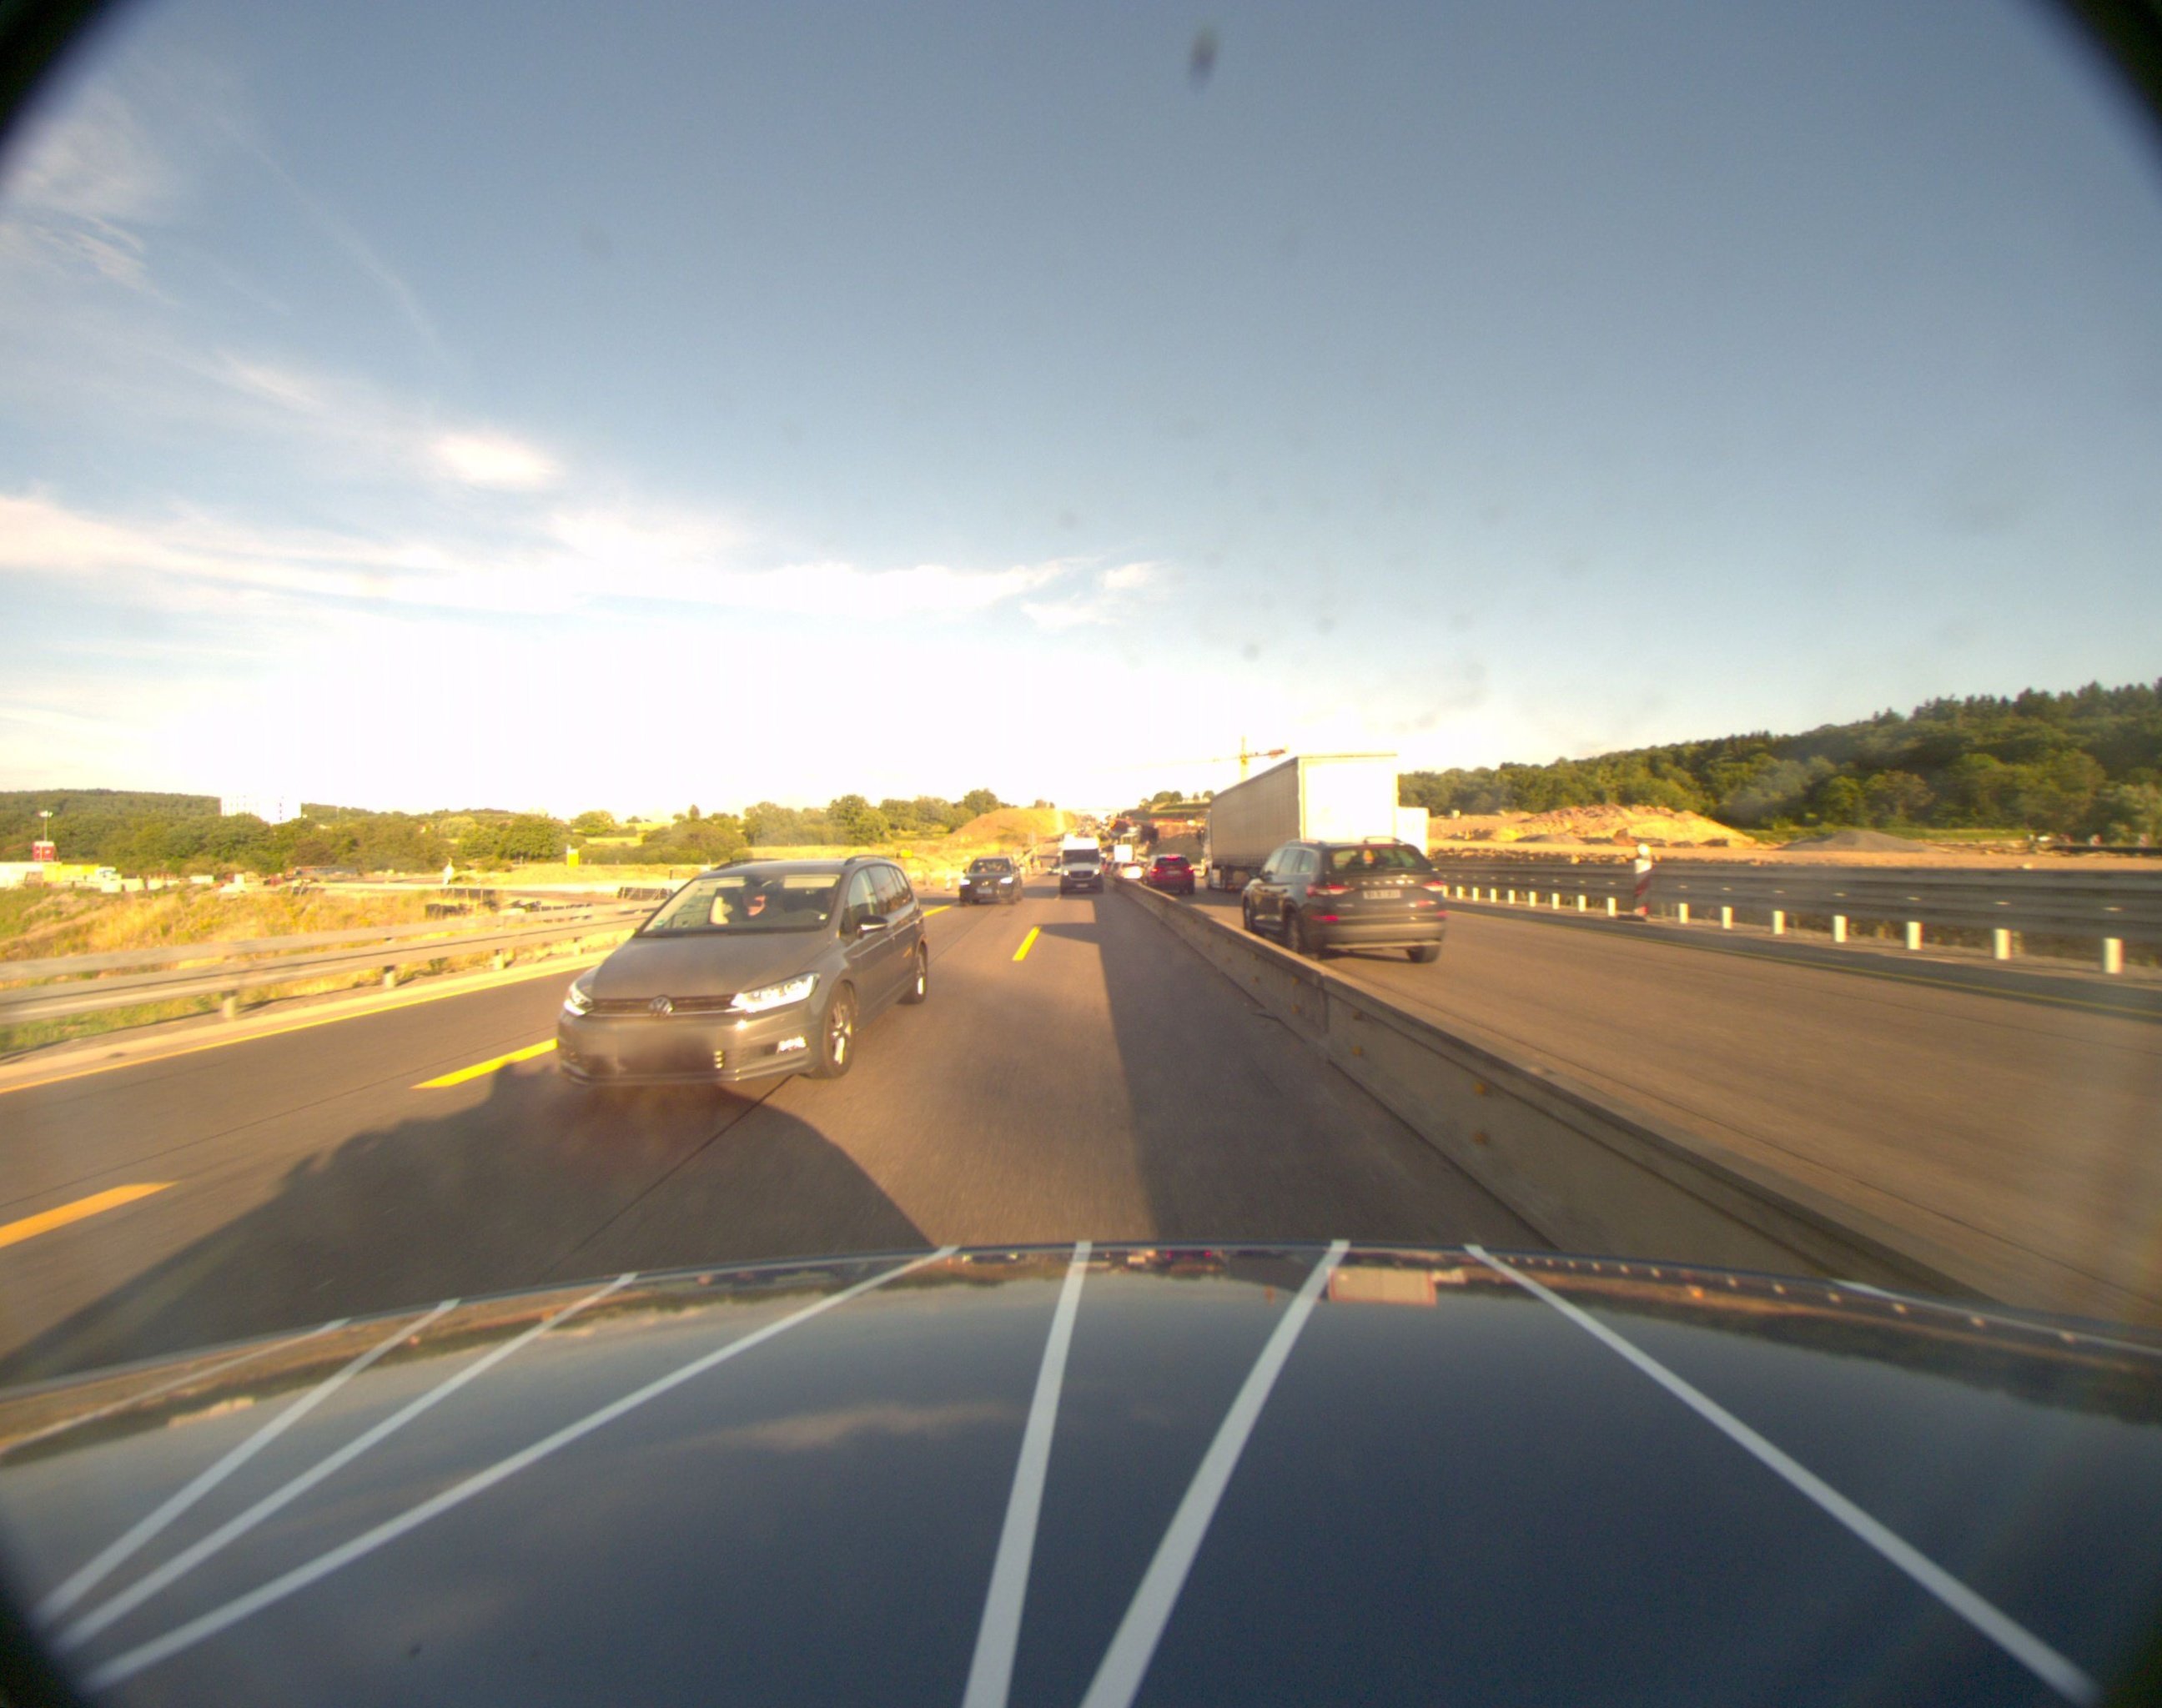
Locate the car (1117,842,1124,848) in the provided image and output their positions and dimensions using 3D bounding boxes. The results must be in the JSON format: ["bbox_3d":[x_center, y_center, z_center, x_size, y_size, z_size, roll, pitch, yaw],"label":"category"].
[{"bbox_3d":[10.532,-2.500,203.046,1.719,1.402,4.327,-1,2,5],"label":"car"}]

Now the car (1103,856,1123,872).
[{"bbox_3d":[3.431,1.109,82.562,1.832,1.630,4.529,-2,0,-1],"label":"car"}]

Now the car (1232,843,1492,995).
[{"bbox_3d":[3.625,0.726,10.829,1.998,1.635,4.511,-2,0,0],"label":"car"}]

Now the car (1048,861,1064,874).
[{"bbox_3d":[-2.946,1.568,91.243,1.791,1.477,4.000,-2,0,-1],"label":"car"}]

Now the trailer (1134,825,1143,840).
[{"bbox_3d":[17.534,-6.667,231.686,2.536,4.190,13.932,-3,2,4],"label":"trailer"}]

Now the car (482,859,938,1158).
[{"bbox_3d":[-2.634,0.936,6.801,1.817,1.606,4.525,-4,1,-1],"label":"car"}]

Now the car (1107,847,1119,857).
[{"bbox_3d":[6.078,-0.413,145.134,1.998,1.754,4.440,-2,1,0],"label":"car"}]

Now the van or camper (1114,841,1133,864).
[{"bbox_3d":[6.783,-0.145,121.015,2.464,3.477,7.413,-2,0,0],"label":"van or camper"}]

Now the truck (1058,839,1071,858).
[{"bbox_3d":[-3.578,-1.176,162.999,2.264,3.705,6.571,-4,1,-2],"label":"truck"}]

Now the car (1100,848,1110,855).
[{"bbox_3d":[5.092,-0.515,160.292,1.866,1.424,4.154,-2,1,0],"label":"car"}]

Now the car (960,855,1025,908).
[{"bbox_3d":[-3.189,0.935,28.269,1.902,1.703,4.887,-2,0,-1],"label":"car"}]

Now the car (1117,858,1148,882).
[{"bbox_3d":[3.631,1.082,54.420,1.771,1.526,3.999,-2,1,-2],"label":"car"}]

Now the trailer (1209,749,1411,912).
[{"bbox_3d":[6.941,-0.619,26.090,2.821,4.027,14.020,-1,0,1],"label":"trailer"}]

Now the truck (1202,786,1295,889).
[{"bbox_3d":[7.047,-0.661,32.767,2.821,4.025,5.672,-1,0,1],"label":"truck"}]

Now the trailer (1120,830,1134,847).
[{"bbox_3d":[11.243,-3.654,185.642,2.780,4.008,13.681,-1,1,1],"label":"trailer"}]

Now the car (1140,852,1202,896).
[{"bbox_3d":[3.586,0.738,31.022,1.998,1.610,4.605,-1,0,0],"label":"car"}]

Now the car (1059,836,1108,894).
[{"bbox_3d":[0.127,0.487,36.520,2.110,2.518,5.220,-2,0,1],"label":"car"}]

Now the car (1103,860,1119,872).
[{"bbox_3d":[4.064,1.630,103.832,1.820,1.454,4.705,-2,0,-1],"label":"car"}]

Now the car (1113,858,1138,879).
[{"bbox_3d":[3.822,1.220,65.712,1.747,1.574,4.705,-6,0,0],"label":"car"}]
